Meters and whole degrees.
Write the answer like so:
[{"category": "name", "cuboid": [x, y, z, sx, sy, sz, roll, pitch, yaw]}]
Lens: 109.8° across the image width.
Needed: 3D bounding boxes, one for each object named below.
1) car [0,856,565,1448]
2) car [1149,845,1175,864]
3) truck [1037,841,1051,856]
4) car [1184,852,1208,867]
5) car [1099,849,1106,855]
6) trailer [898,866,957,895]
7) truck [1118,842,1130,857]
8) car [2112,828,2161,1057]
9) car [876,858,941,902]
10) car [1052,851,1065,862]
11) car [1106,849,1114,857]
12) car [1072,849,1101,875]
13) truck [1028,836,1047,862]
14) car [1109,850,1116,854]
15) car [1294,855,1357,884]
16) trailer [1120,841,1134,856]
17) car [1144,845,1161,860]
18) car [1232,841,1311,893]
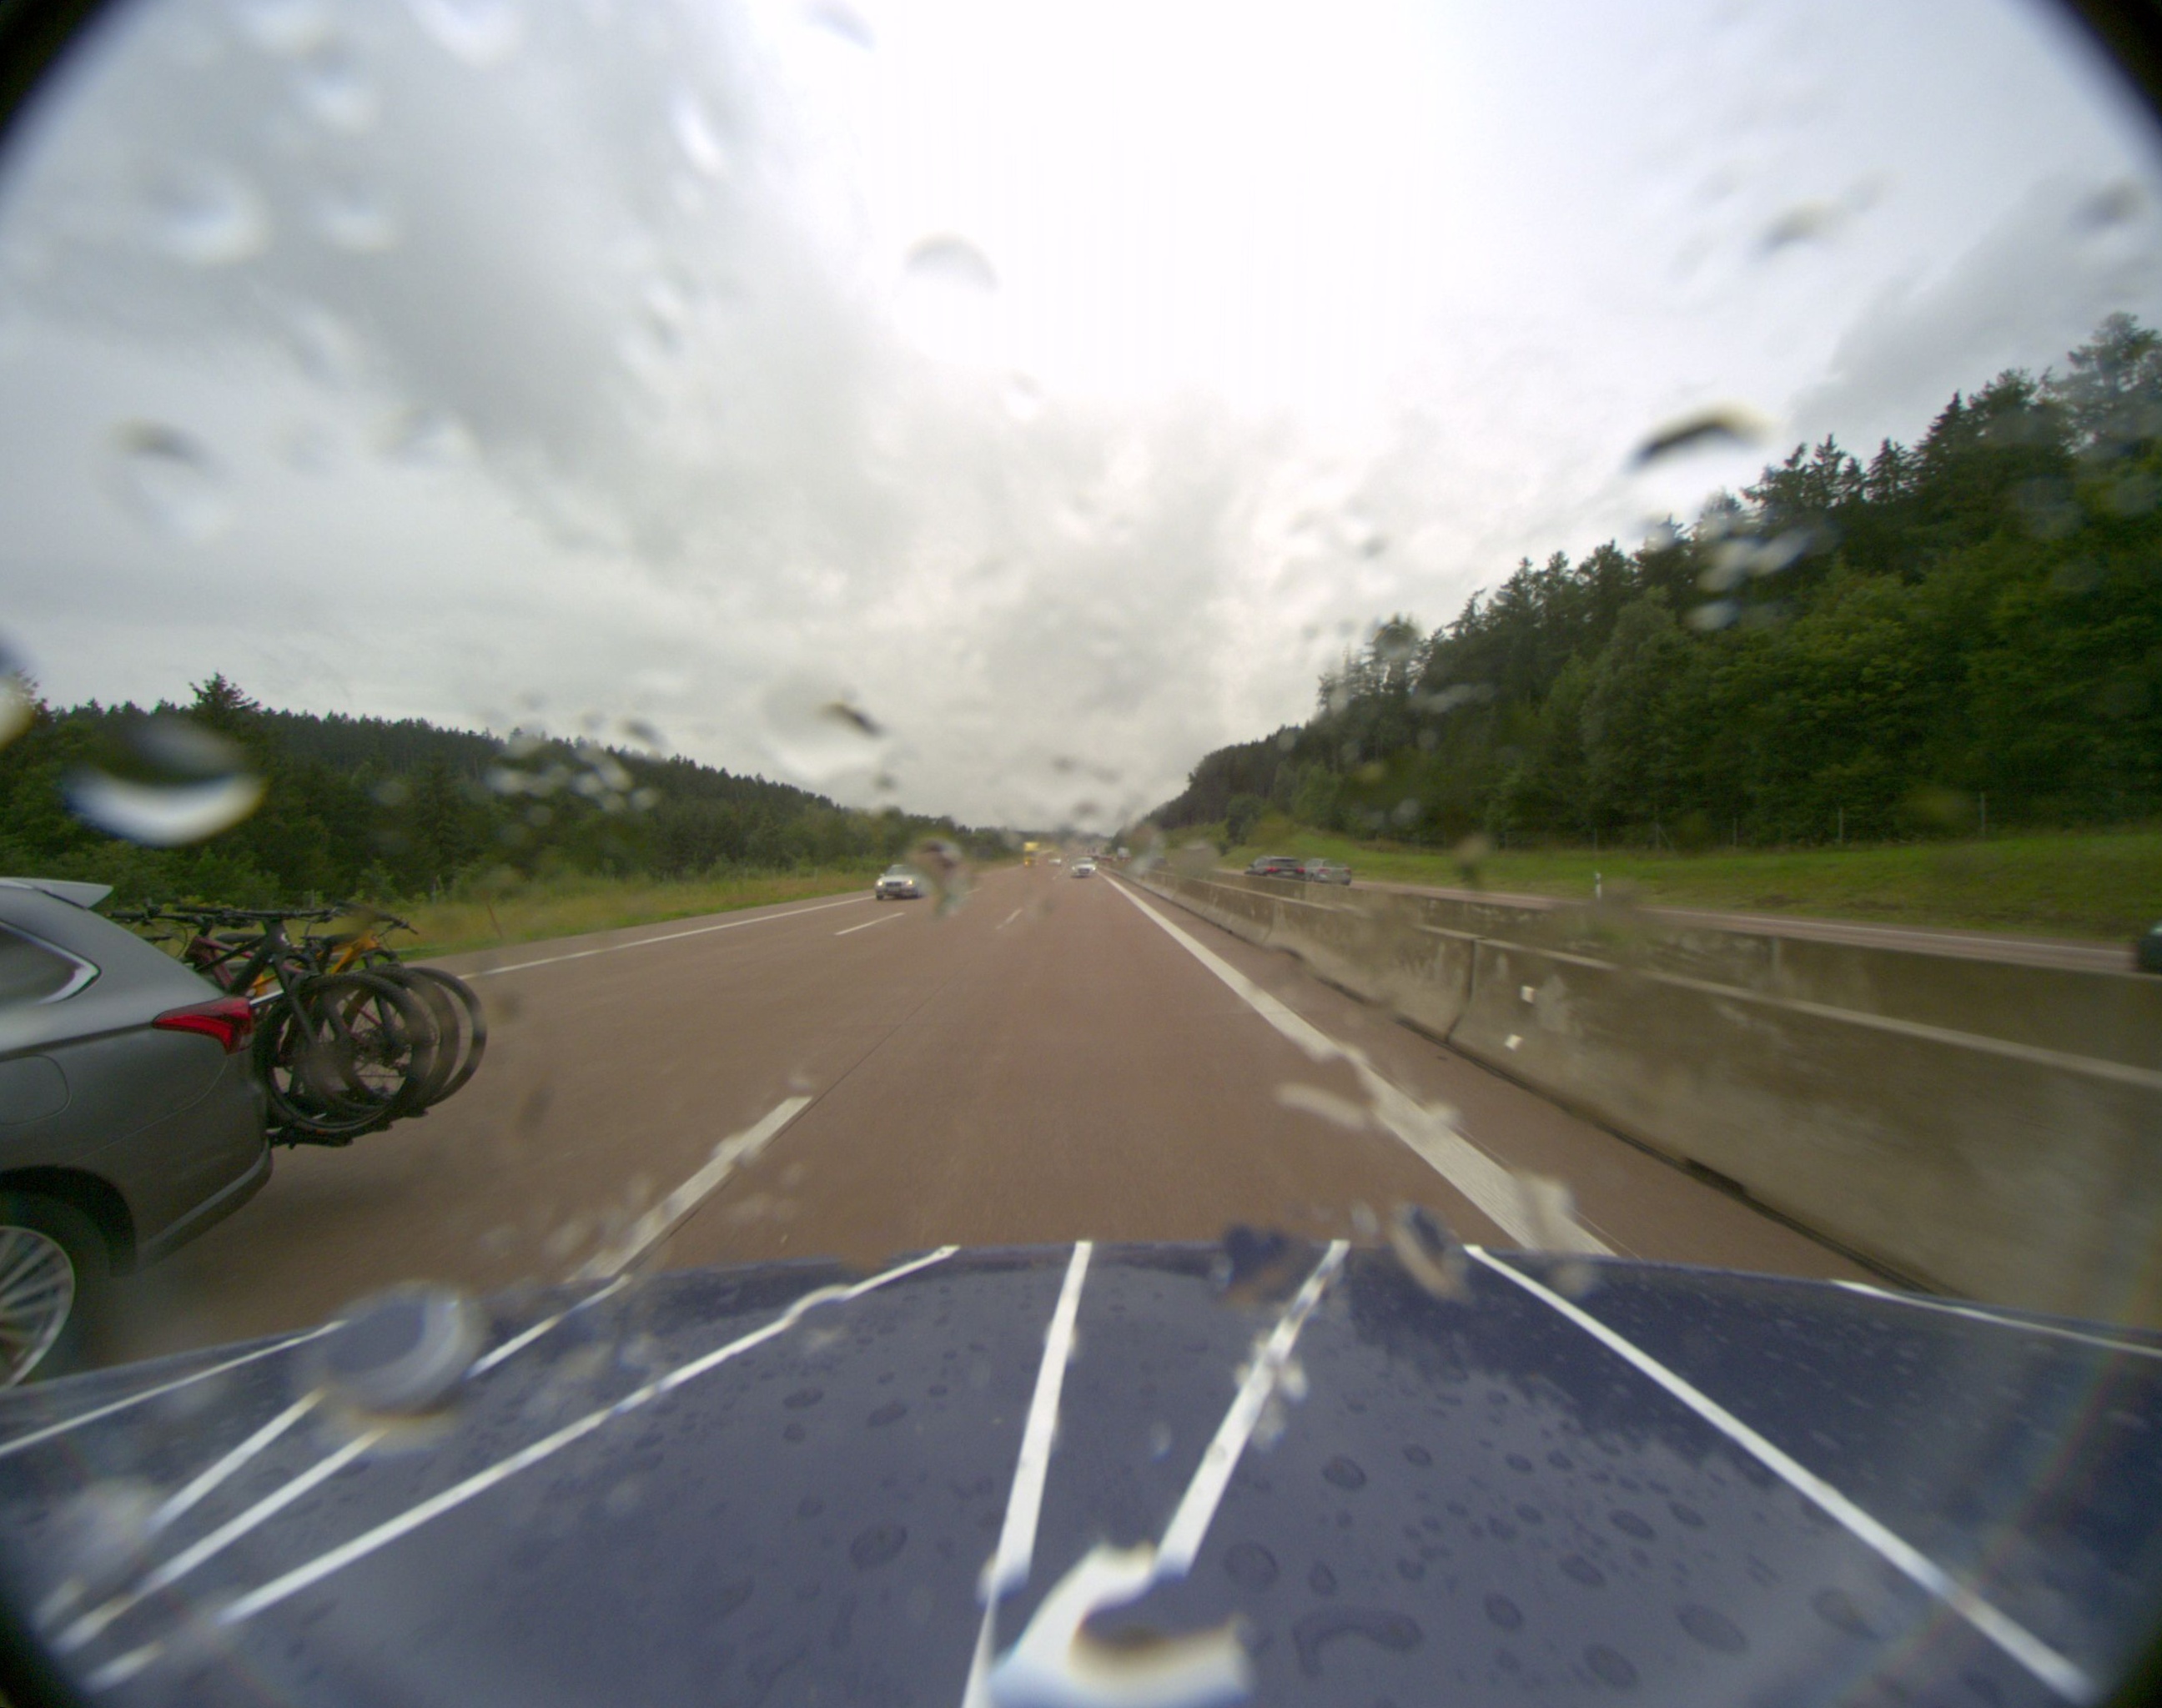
[{"category": "car", "cuboid": [-4.042, 0.915, 1.439, 1.998, 1.584, 5.819, -2, 2, 1]}, {"category": "car", "cuboid": [8.405, 0.011, 79.170, 1.862, 1.697, 6.161, -2, 2, -1]}, {"category": "truck", "cuboid": [-11.202, -1.691, 230.281, 3.190, 4.349, 14.699, -2, 2, 0]}, {"category": "car", "cuboid": [12.452, 0.559, 82.234, 1.793, 1.548, 4.865, 1, 1, 0]}, {"category": "car", "cuboid": [6.697, -0.583, 239.530, 1.823, 1.831, 6.235, -2, 2, -2]}, {"category": "trailer", "cuboid": [-7.516, 1.262, 37.602, 1.976, 1.159, 4.638, -2, 0, 0]}, {"category": "truck", "cuboid": [13.454, -1.391, 237.293, 2.972, 4.294, 7.648, 2, -1, -1]}, {"category": "car", "cuboid": [9.532, 0.701, 3.960, 1.998, 1.816, 4.686, -1, 0, 1]}, {"category": "car", "cuboid": [-7.351, 1.049, 32.933, 1.702, 1.602, 4.975, -1, 1, -1]}, {"category": "car", "cuboid": [-3.745, 0.409, 126.411, 1.998, 1.623, 4.930, -2, 2, 0]}, {"category": "car", "cuboid": [7.733, -0.256, 202.134, 1.781, 1.846, 5.320, -2, 2, 1]}, {"category": "car", "cuboid": [0.376, 0.547, 56.229, 1.998, 1.623, 4.930, -2, 2, 0]}, {"category": "truck", "cuboid": [-7.212, -0.896, 126.943, 2.610, 4.190, 6.248, -2, 2, 0]}, {"category": "car", "cuboid": [9.548, -0.621, 232.482, 1.823, 1.361, 5.114, -1, 0, -2]}, {"category": "car", "cuboid": [12.534, 0.748, 39.241, 1.654, 1.381, 4.810, 2, 0, -1]}, {"category": "trailer", "cuboid": [13.699, -1.498, 229.083, 2.941, 4.250, 12.943, 2, 0, -2]}, {"category": "car", "cuboid": [11.794, -0.246, 125.874, 2.108, 2.266, 5.393, -2, 2, -1]}, {"category": "car", "cuboid": [8.336, 0.490, 33.845, 1.999, 2.002, 5.524, -2, 2, -1]}]
